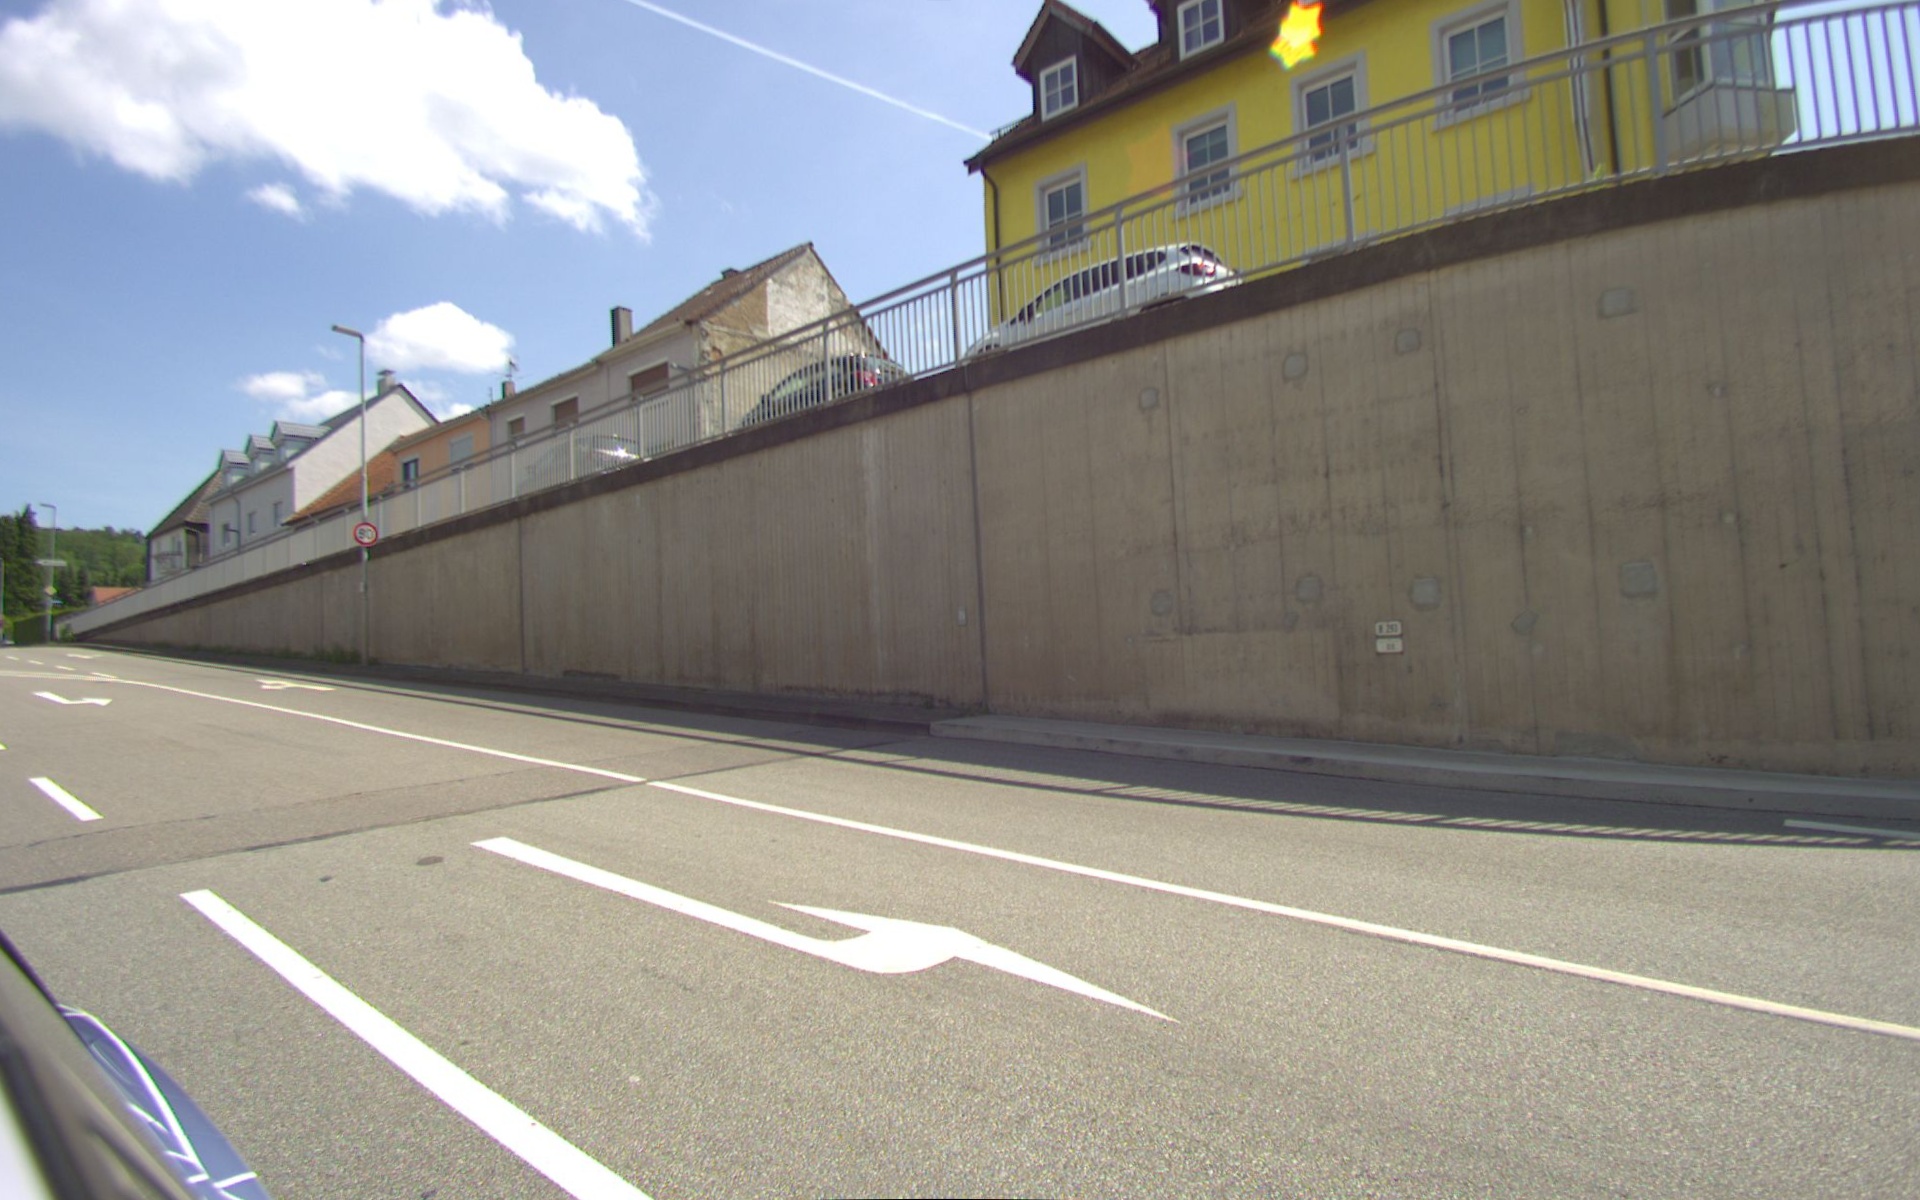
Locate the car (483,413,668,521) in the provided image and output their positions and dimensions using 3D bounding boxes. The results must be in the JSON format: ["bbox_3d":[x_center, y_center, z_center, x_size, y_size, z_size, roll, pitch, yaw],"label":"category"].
[{"bbox_3d":[-8.347,-2.757,21.801,4.388,1.536,1.780,-4,-3,39],"label":"car"}]

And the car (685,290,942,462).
[{"bbox_3d":[-2.514,-3.545,16.783,4.218,1.718,1.804,-4,-3,39],"label":"car"}]

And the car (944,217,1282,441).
[{"bbox_3d":[1.940,-3.378,13.437,3.996,1.681,1.883,-4,-3,40],"label":"car"}]

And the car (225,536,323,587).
[{"bbox_3d":[-24.773,-1.340,36.488,4.388,1.416,1.768,-4,-3,39],"label":"car"}]
